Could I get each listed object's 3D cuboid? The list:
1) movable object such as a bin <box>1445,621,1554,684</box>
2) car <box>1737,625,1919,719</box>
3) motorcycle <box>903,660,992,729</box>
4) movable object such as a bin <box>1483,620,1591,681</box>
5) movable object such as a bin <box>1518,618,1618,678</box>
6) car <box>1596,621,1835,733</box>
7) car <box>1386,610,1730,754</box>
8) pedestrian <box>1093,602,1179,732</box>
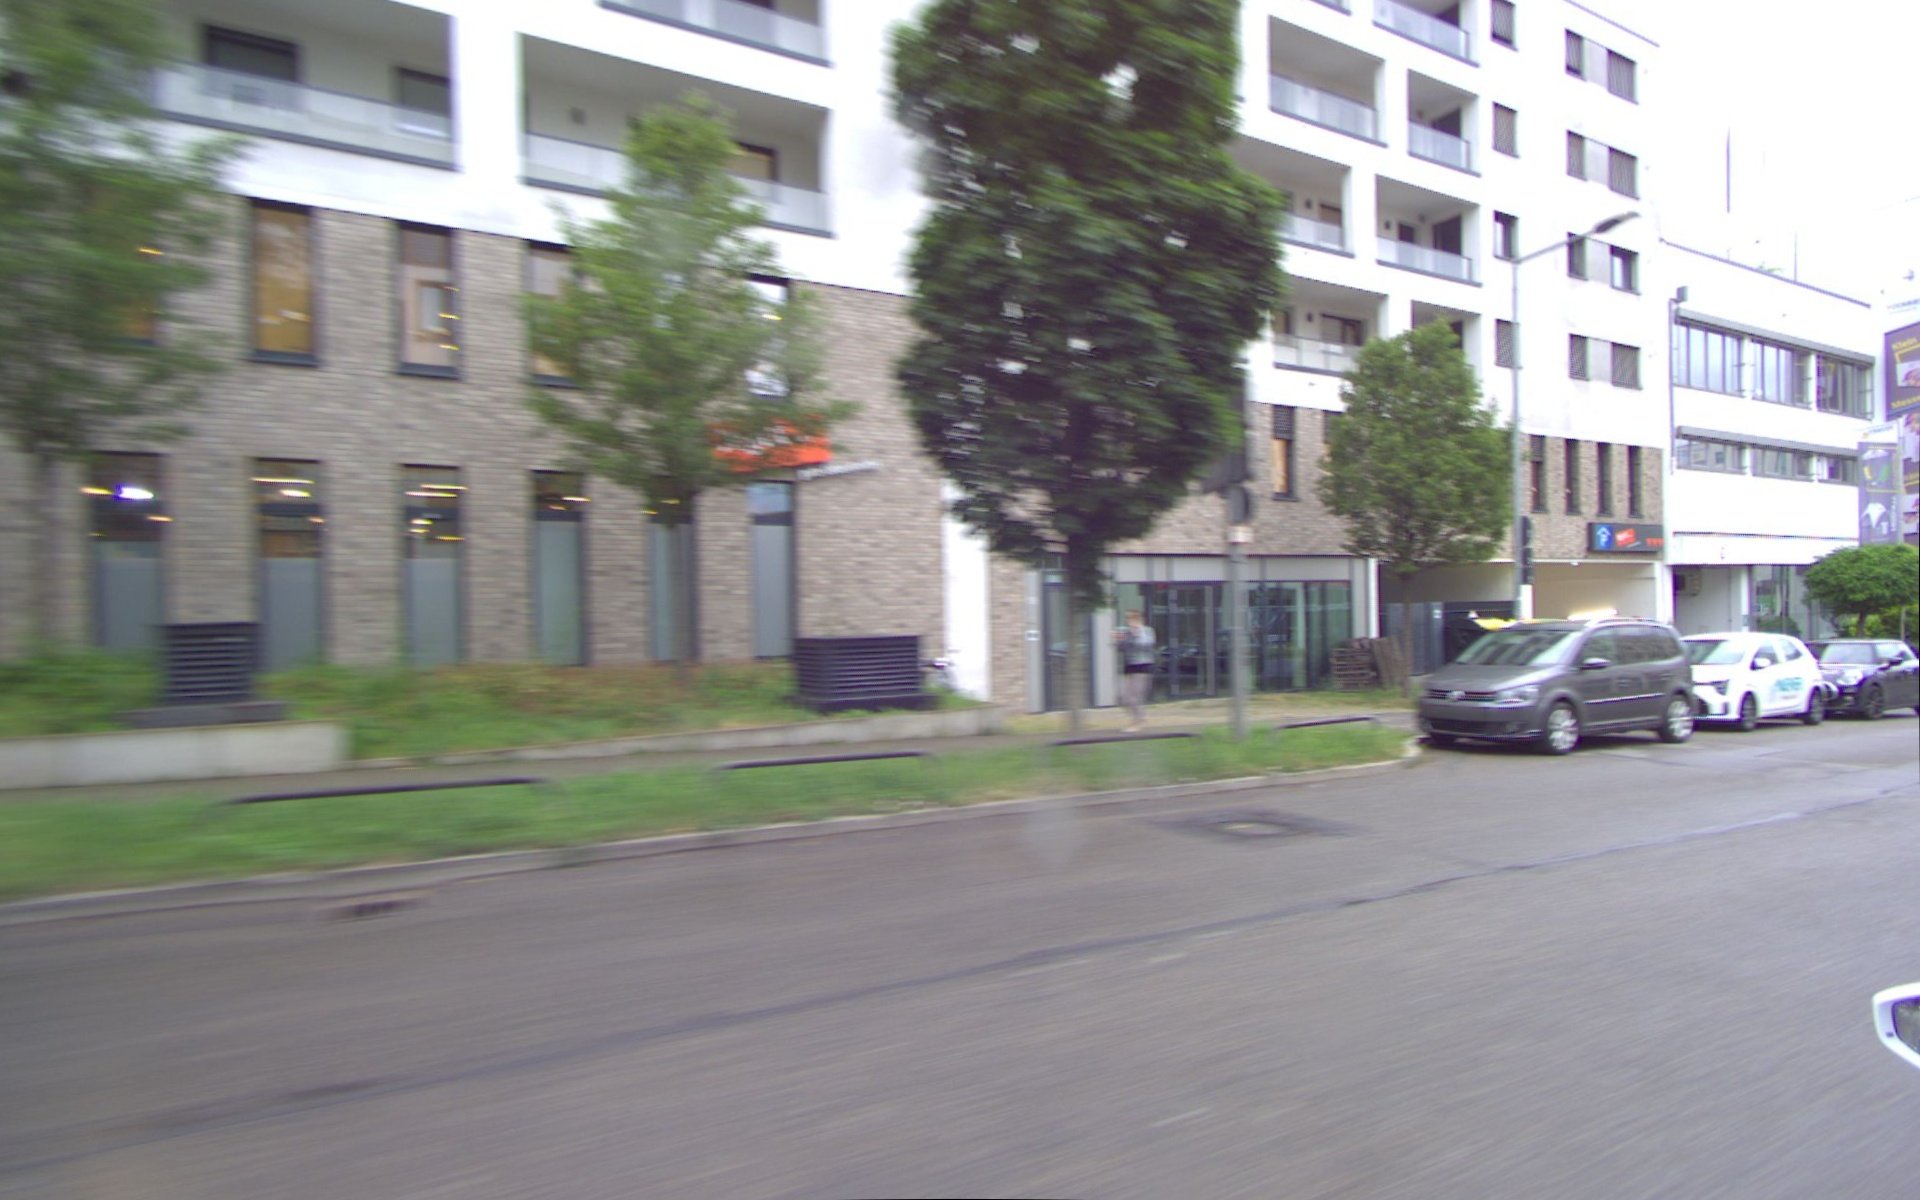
[{"bbox_3d":[13.508,1.288,25.202,1.276,1.449,2.015,1,1,-33],"label":"movable object such as a bin"},{"bbox_3d":[16.490,1.289,18.629,4.194,1.536,1.789,2,-1,-29],"label":"car"},{"bbox_3d":[-0.212,1.302,14.257,0.706,0.818,2.002,1,-1,-18],"label":"motorcycle"},{"bbox_3d":[14.825,1.273,25.867,1.303,1.442,2.042,1,0,-33],"label":"movable object such as a bin"},{"bbox_3d":[16.084,1.274,26.594,1.466,1.530,1.785,1,-3,-33],"label":"movable object such as a bin"},{"bbox_3d":[12.379,1.166,16.413,3.985,1.622,1.764,1,-1,-31],"label":"car"},{"bbox_3d":[8.083,0.987,13.493,4.633,1.630,2.067,1,-2,-32],"label":"car"},{"bbox_3d":[2.404,0.888,13.751,0.947,1.705,0.704,1,-1,-34],"label":"pedestrian"}]
